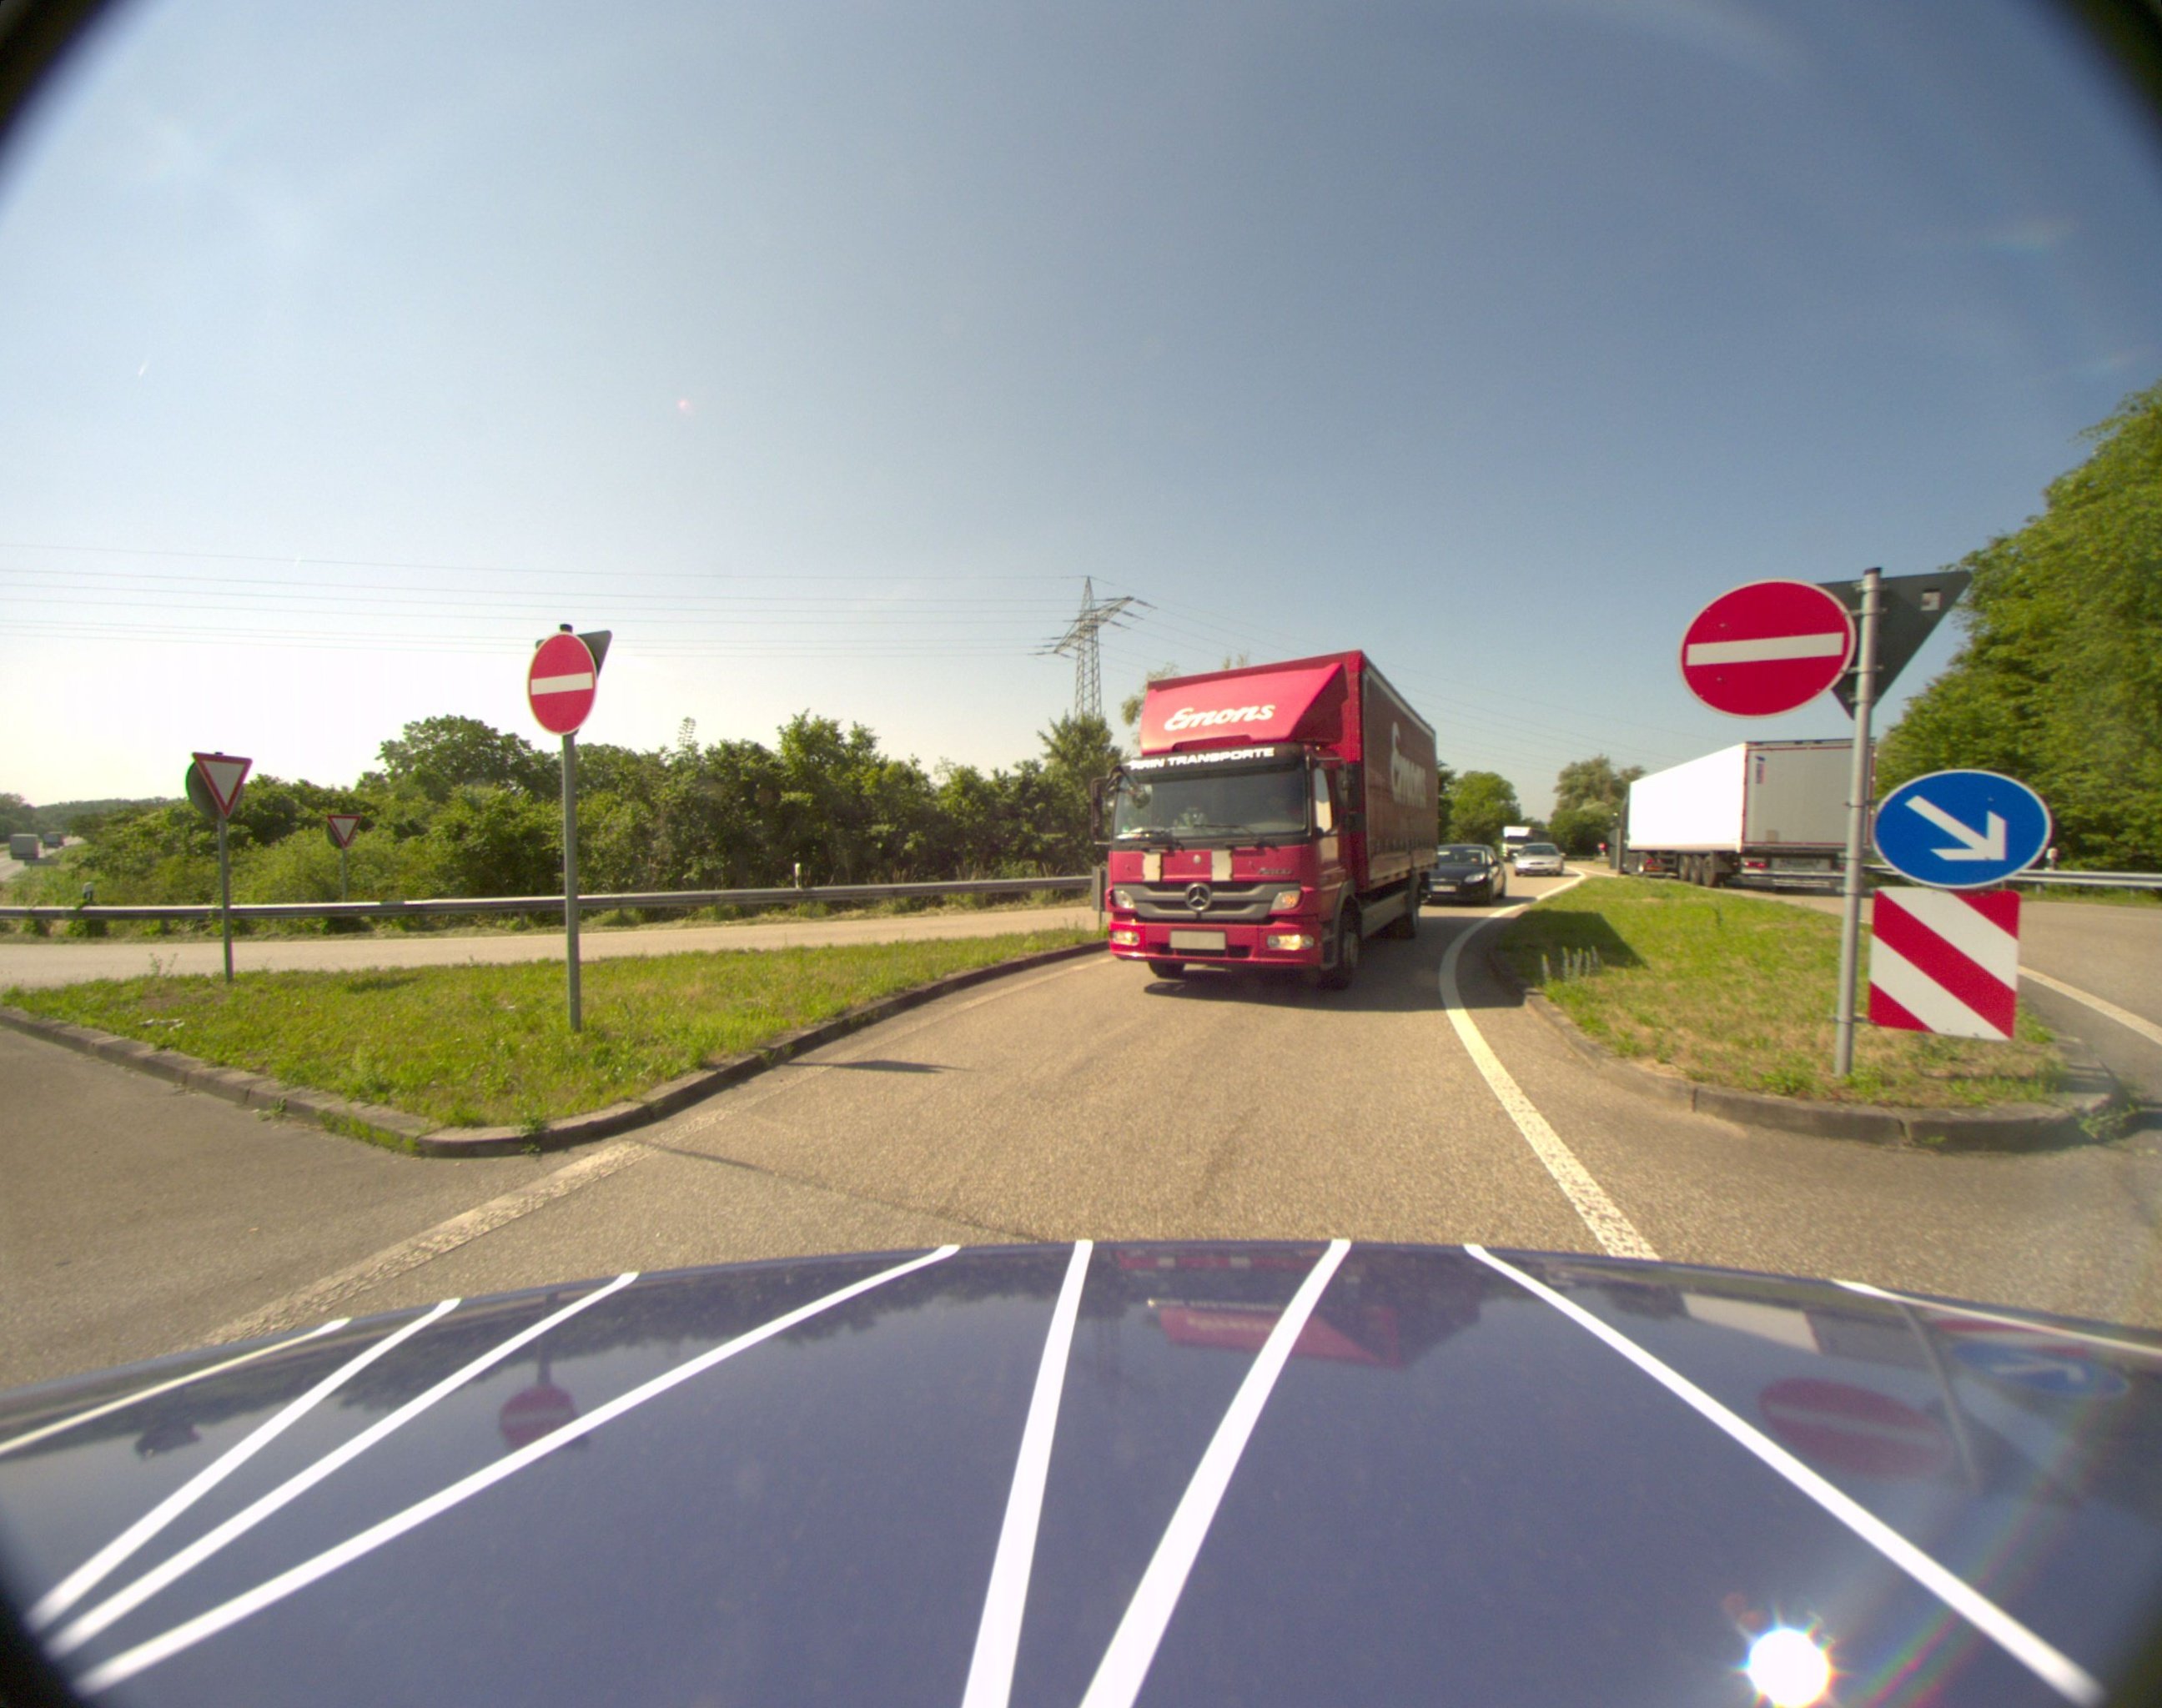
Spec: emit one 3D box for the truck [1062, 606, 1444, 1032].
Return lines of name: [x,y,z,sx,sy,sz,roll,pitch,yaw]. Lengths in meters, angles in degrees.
truck: [3.368,-0.368,11.162,2.684,3.640,9.279,0,1,31]

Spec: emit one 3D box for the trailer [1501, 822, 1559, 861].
trailer: [52.859,-1.520,89.268,2.921,4.216,14.010,3,3,42]

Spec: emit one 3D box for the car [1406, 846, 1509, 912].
car: [9.464,0.538,18.946,1.783,1.406,4.008,-1,1,34]

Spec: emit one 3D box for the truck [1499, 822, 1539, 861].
truck: [48.619,-1.416,84.319,2.931,4.214,5.744,3,3,39]

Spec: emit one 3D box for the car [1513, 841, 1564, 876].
car: [19.682,0.164,32.791,1.784,1.377,4.386,-1,1,30]

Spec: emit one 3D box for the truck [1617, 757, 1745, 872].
truck: [24.275,-1.510,31.085,2.872,4.150,5.980,-1,1,26]

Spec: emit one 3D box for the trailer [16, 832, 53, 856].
trailer: [-179.956,-1.683,130.743,13.376,3.988,2.936,0,2,38]

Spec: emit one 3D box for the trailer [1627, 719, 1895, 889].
trailer: [21.578,-1.353,25.477,2.889,4.141,14.003,-1,1,26]
